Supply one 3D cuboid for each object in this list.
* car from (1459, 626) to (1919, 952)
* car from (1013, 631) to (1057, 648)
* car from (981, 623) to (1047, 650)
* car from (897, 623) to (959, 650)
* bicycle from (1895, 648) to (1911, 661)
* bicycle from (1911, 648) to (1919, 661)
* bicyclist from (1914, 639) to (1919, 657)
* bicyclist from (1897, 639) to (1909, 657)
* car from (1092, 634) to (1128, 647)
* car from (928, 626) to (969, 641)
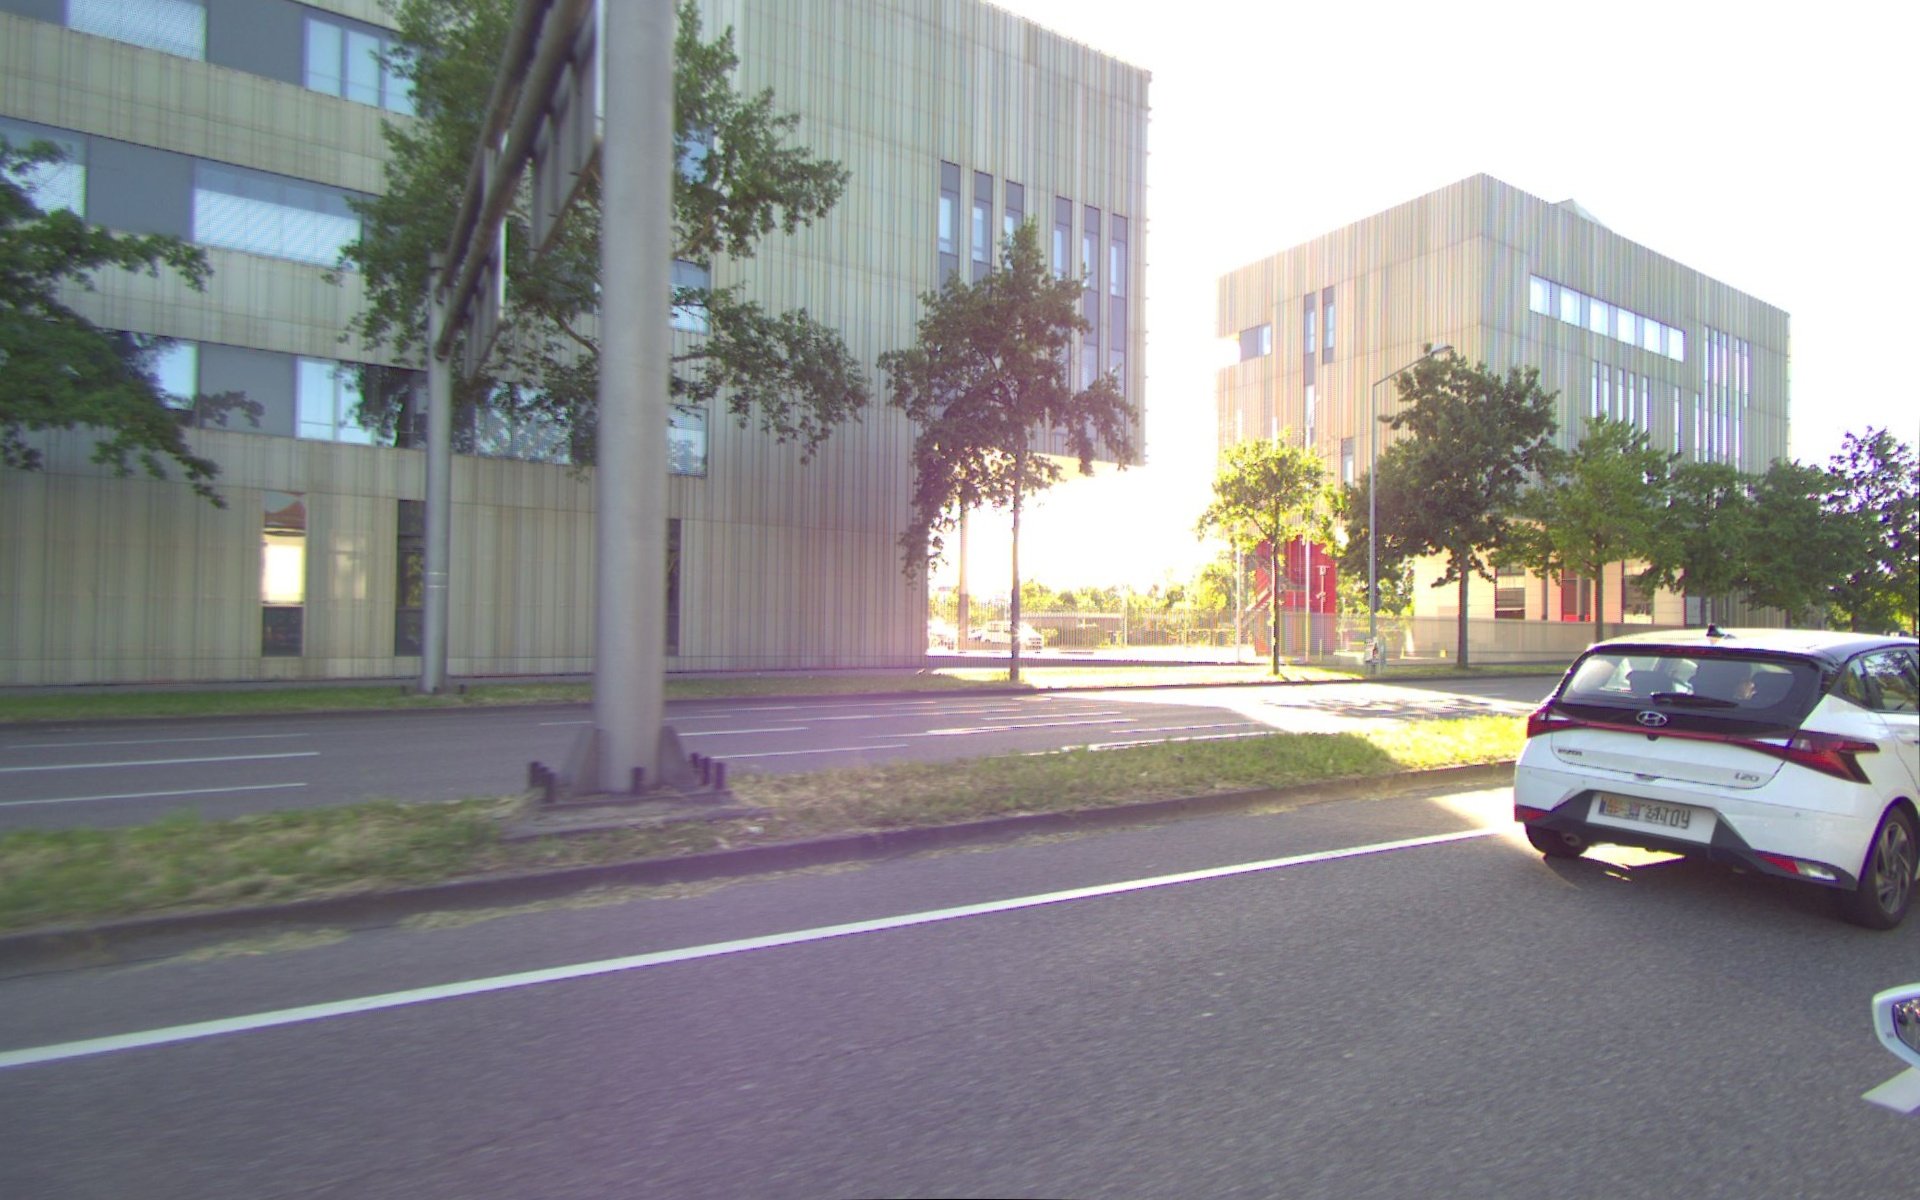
[{"bbox_3d":[5.178,0.905,6.290,4.026,1.427,1.770,1,-1,-30],"label":"car"},{"bbox_3d":[5.897,3.111,78.988,3.348,1.275,1.354,2,-2,-34],"label":"car"},{"bbox_3d":[3.185,2.152,60.061,1.912,1.523,4.367,1,-1,-30],"label":"car"},{"bbox_3d":[-1.854,2.053,56.812,1.741,1.472,4.236,1,-1,-30],"label":"car"},{"bbox_3d":[73.140,4.207,77.896,2.074,1.016,0.484,2,-2,-34],"label":"bicycle"},{"bbox_3d":[73.315,4.178,76.701,2.074,1.016,0.567,2,-2,-34],"label":"bicycle"},{"bbox_3d":[73.300,3.678,76.698,0.739,1.410,0.559,2,-2,-33],"label":"bicyclist"},{"bbox_3d":[73.084,3.721,77.868,0.835,1.413,0.479,2,-2,-34],"label":"bicyclist"},{"bbox_3d":[14.657,3.949,98.334,3.404,1.233,1.422,2,-2,-32],"label":"car"},{"bbox_3d":[-1.008,2.985,88.240,3.348,1.275,1.354,2,-2,-34],"label":"car"}]
